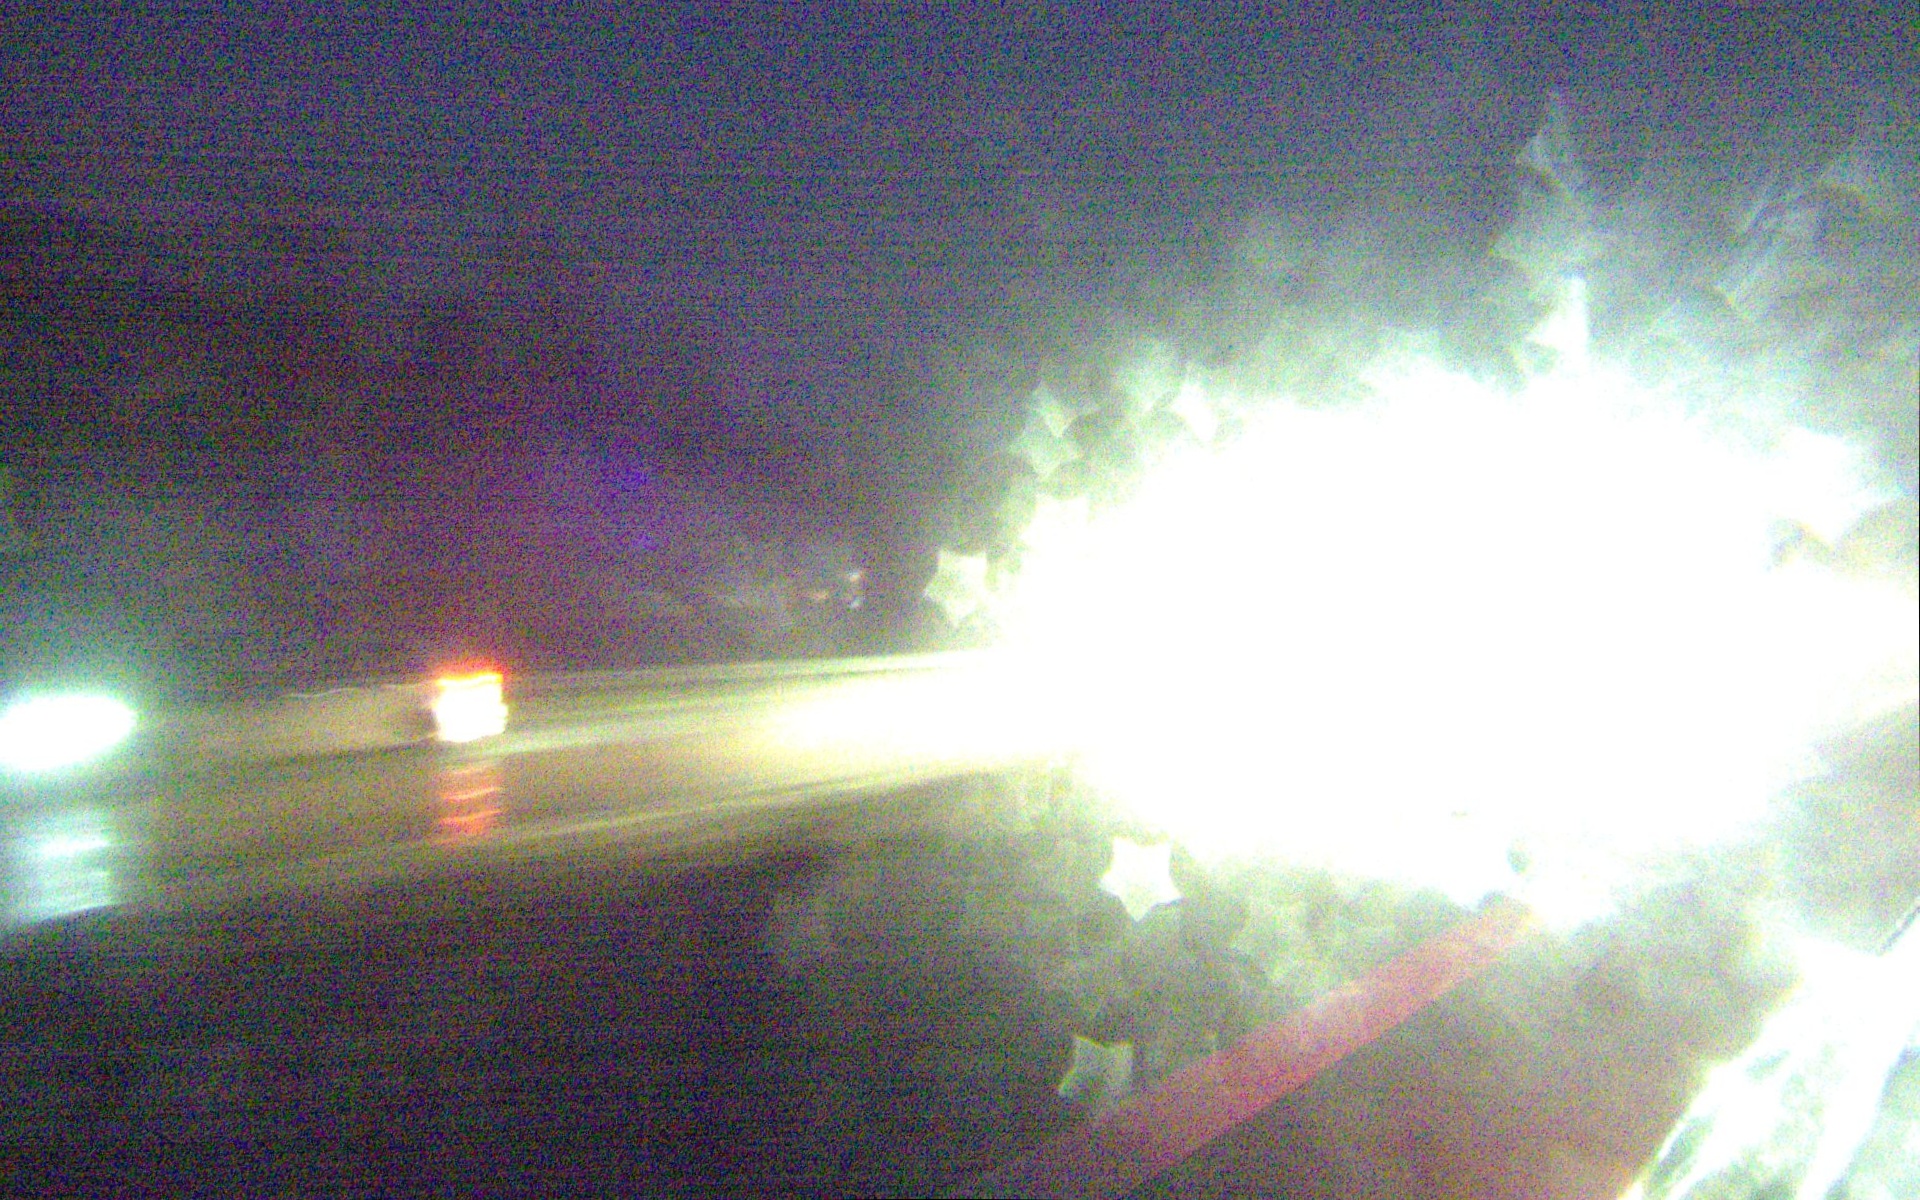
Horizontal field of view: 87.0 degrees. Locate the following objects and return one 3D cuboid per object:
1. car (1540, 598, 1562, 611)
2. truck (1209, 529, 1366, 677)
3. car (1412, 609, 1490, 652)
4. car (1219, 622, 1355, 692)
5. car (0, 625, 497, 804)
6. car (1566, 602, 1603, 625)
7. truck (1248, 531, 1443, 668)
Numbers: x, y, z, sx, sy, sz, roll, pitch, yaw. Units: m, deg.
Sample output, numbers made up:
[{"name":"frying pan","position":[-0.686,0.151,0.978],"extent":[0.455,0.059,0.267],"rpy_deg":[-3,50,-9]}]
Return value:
[{"name":"car","position":[66.404,0.546,113.756],"extent":[1.703,1.310,3.938],"rpy_deg":[3,1,36]},{"name":"truck","position":[10.606,-0.077,32.462],"extent":[2.754,4.273,6.110],"rpy_deg":[3,4,38]},{"name":"car","position":[17.113,1.023,35.187],"extent":[1.703,1.310,3.938],"rpy_deg":[3,1,37]},{"name":"car","position":[7.413,1.201,22.736],"extent":[1.703,1.310,3.938],"rpy_deg":[3,1,37]},{"name":"car","position":[-7.681,1.079,11.274],"extent":[1.787,1.505,4.264],"rpy_deg":[-1,-1,41]},{"name":"car","position":[39.952,0.852,64.731],"extent":[1.703,1.310,3.939],"rpy_deg":[3,1,36]},{"name":"truck","position":[14.838,-0.320,37.861],"extent":[2.754,4.273,13.639],"rpy_deg":[3,4,38]}]
